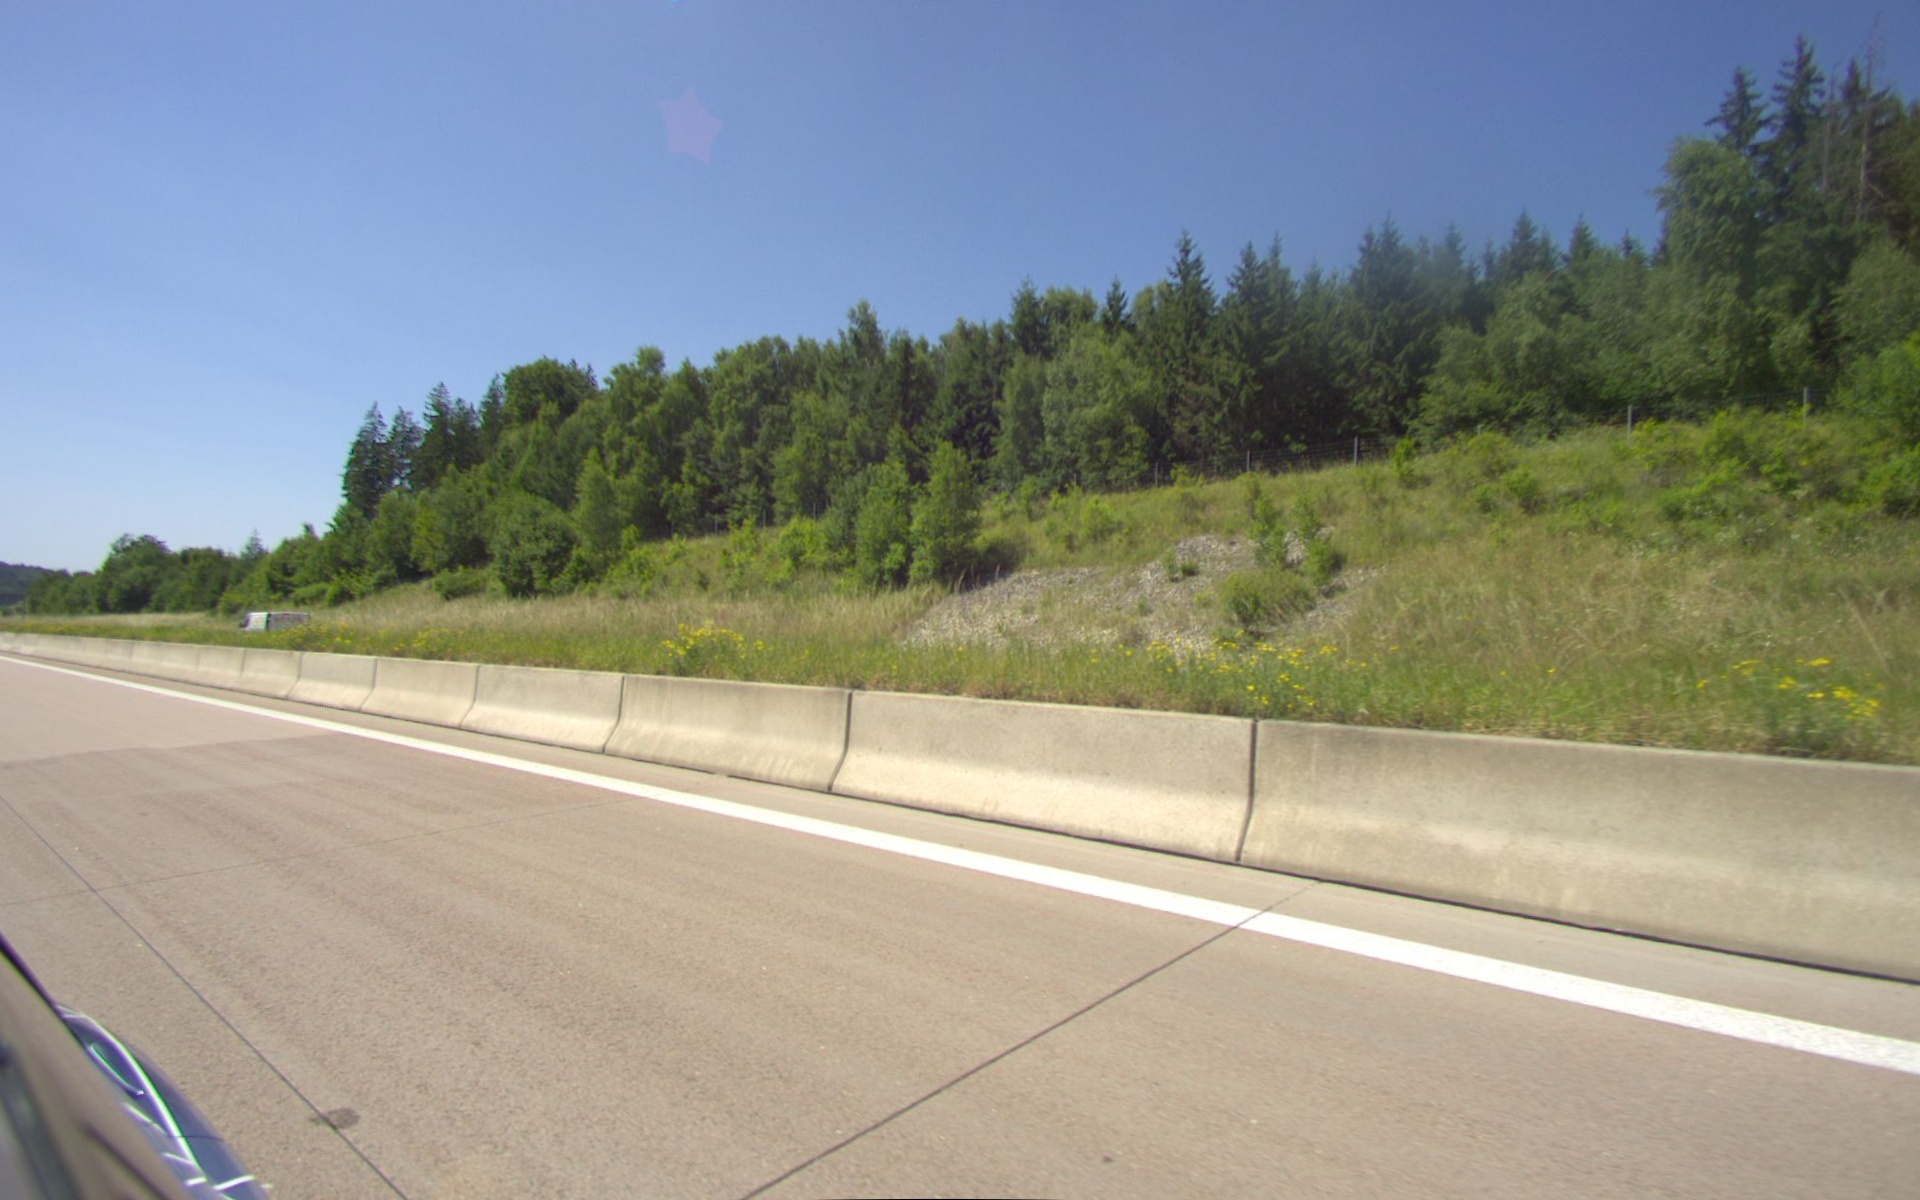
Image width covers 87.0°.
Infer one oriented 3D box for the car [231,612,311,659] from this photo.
[{"bbox_3d":[-32.567,1.674,47.806,4.658,2.080,1.872,-2,-1,39],"label":"car"}]
